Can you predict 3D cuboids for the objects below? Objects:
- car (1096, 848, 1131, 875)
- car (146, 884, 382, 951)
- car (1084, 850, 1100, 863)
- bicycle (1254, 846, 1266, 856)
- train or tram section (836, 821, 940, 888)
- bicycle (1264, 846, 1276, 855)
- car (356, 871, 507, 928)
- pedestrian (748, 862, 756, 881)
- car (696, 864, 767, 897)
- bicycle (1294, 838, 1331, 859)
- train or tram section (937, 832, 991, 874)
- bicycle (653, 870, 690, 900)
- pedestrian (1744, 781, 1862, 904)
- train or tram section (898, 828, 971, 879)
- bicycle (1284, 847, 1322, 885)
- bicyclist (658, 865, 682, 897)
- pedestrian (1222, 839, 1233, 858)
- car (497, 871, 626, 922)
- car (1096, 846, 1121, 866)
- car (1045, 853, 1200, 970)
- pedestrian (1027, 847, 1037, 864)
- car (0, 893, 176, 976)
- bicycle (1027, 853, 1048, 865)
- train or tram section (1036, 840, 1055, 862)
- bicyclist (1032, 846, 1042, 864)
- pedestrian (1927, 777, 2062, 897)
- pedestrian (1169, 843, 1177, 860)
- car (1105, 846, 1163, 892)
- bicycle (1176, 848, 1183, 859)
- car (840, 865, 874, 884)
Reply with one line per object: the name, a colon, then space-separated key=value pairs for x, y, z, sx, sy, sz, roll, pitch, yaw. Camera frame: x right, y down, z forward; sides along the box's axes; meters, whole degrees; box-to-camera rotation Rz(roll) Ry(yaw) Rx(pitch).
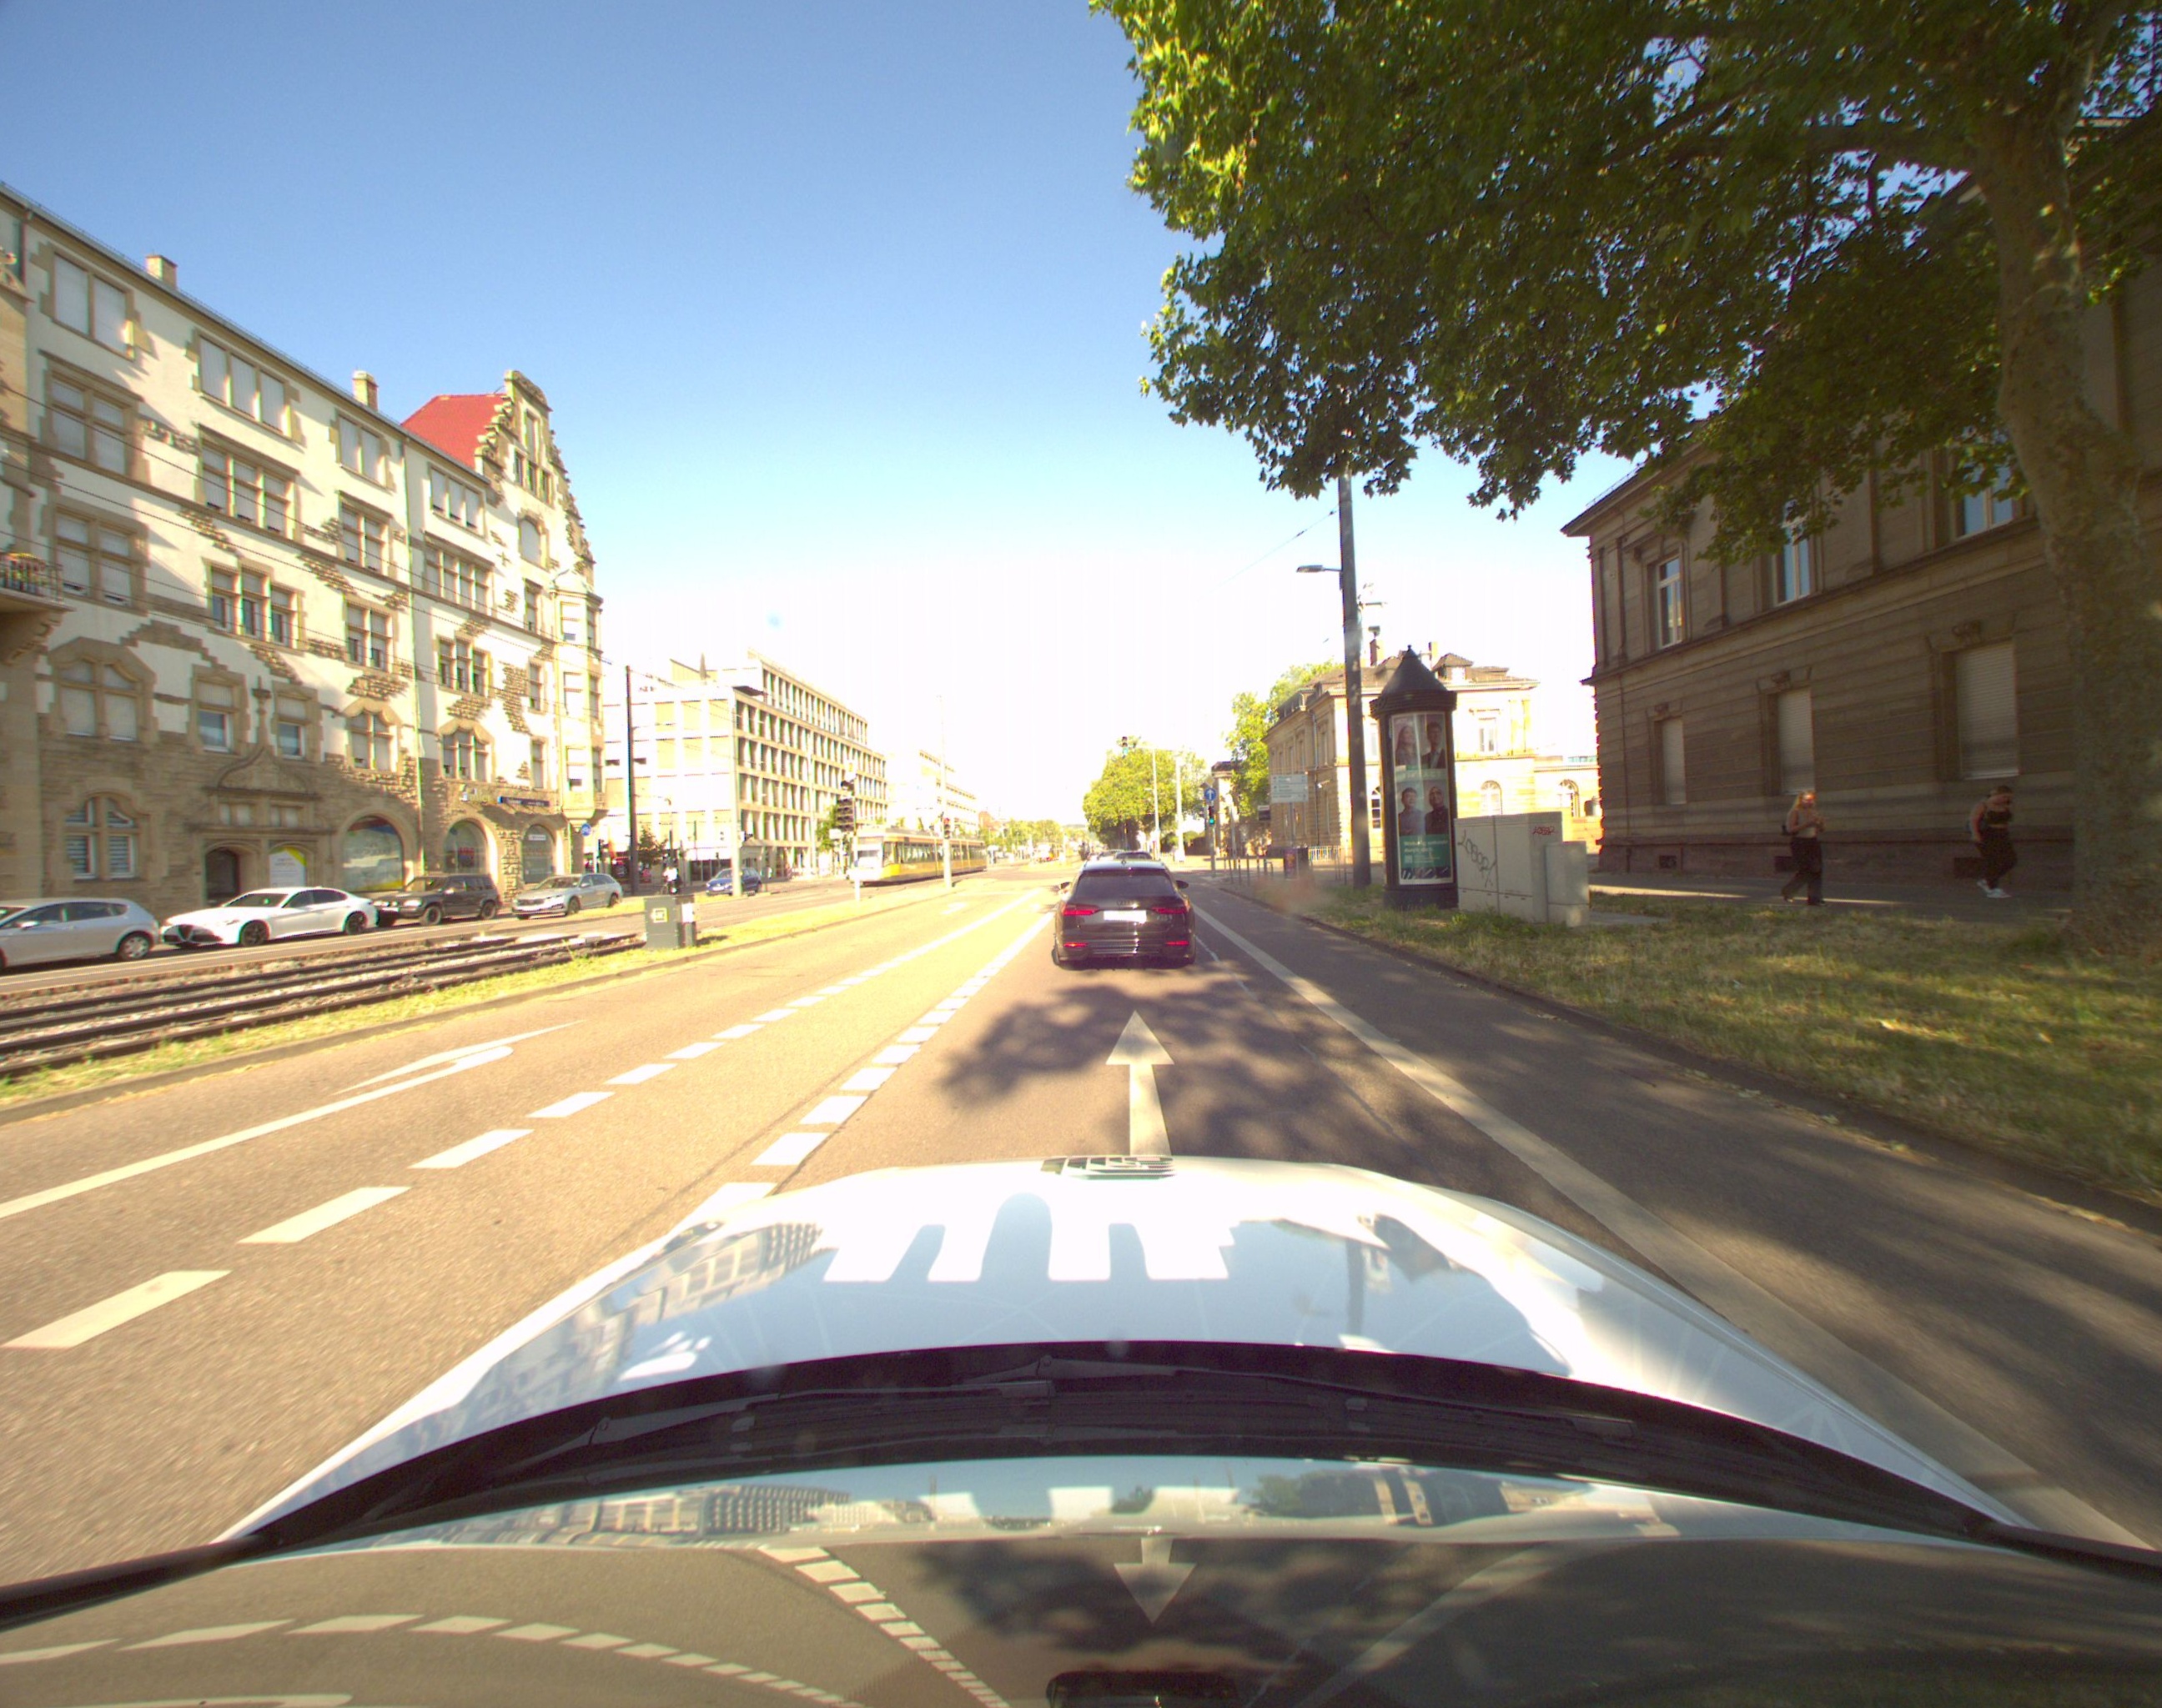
car: x=1.836 y=0.399 z=46.203 sx=1.895 sy=1.486 sz=4.146 roll=-1 pitch=0 yaw=2
car: x=-21.980 y=1.629 z=22.248 sx=1.711 sy=1.423 sz=4.655 roll=0 pitch=0 yaw=0
car: x=1.299 y=0.304 z=96.241 sx=1.896 sy=1.486 sz=4.145 roll=-1 pitch=0 yaw=1
bicycle: x=20.131 y=-0.347 z=91.589 sx=0.525 sy=1.047 sz=2.354 roll=-3 pitch=0 yaw=-6
train or tram section: x=-11.588 y=-0.023 z=50.633 sx=2.802 sy=3.489 sz=13.209 roll=-3 pitch=0 yaw=2
bicycle: x=21.191 y=-0.371 z=91.550 sx=0.525 sy=1.047 sz=2.354 roll=-3 pitch=0 yaw=-6
car: x=-21.885 y=1.468 z=27.685 sx=1.711 sy=1.675 sz=4.216 roll=0 pitch=0 yaw=0
pedestrian: x=-31.914 y=1.681 z=79.060 sx=0.535 sy=1.843 sz=0.438 roll=-3 pitch=0 yaw=-37
car: x=-17.856 y=1.313 z=41.780 sx=1.814 sy=1.457 sz=4.155 roll=-3 pitch=0 yaw=-1
bicycle: x=15.055 y=-0.361 z=52.927 sx=2.130 sy=1.209 sz=0.765 roll=-4 pitch=0 yaw=-1
train or tram section: x=-10.768 y=-0.134 z=76.526 sx=2.802 sy=3.489 sz=12.158 roll=-3 pitch=0 yaw=2
bicycle: x=-20.341 y=1.506 z=40.496 sx=0.682 sy=1.381 sz=1.948 roll=-3 pitch=0 yaw=3
pedestrian: x=10.691 y=-0.161 z=12.107 sx=0.766 sy=1.709 sz=1.043 roll=-3 pitch=0 yaw=3
train or tram section: x=-11.185 y=-0.066 z=63.853 sx=2.802 sy=3.489 sz=13.209 roll=-3 pitch=0 yaw=2
bicycle: x=6.559 y=0.353 z=24.109 sx=0.538 sy=1.061 sz=1.770 roll=-3 pitch=0 yaw=-2
bicyclist: x=-20.357 y=1.327 z=40.313 sx=0.682 sy=1.563 sz=0.786 roll=-3 pitch=0 yaw=3
pedestrian: x=14.918 y=-0.533 z=83.026 sx=0.975 sy=1.865 sz=0.827 roll=-3 pitch=0 yaw=2
car: x=-17.989 y=1.412 z=28.480 sx=1.817 sy=1.457 sz=4.532 roll=-3 pitch=0 yaw=-5
car: x=2.203 y=0.166 z=64.393 sx=1.895 sy=1.486 sz=4.146 roll=-1 pitch=0 yaw=2
car: x=0.590 y=0.710 z=12.118 sx=1.895 sy=1.421 sz=4.146 roll=-1 pitch=0 yaw=2
pedestrian: x=-5.133 y=0.177 z=85.003 sx=0.743 sy=1.741 sz=0.659 roll=-3 pitch=0 yaw=-22
car: x=-21.868 y=1.650 z=16.786 sx=1.704 sy=1.431 sz=4.222 roll=0 pitch=0 yaw=-1
bicycle: x=-4.501 y=0.520 z=83.685 sx=2.011 sy=1.108 sz=0.760 roll=-3 pitch=0 yaw=-19
train or tram section: x=-5.905 y=-0.468 z=136.220 sx=2.600 sy=3.450 sz=11.130 roll=-3 pitch=0 yaw=0
bicyclist: x=-4.507 y=0.063 z=83.713 sx=0.759 sy=1.818 sz=0.760 roll=-3 pitch=0 yaw=-18
pedestrian: x=13.031 y=-0.232 z=11.653 sx=0.766 sy=1.606 sz=0.987 roll=-3 pitch=0 yaw=3
pedestrian: x=9.279 y=-0.226 z=81.973 sx=0.680 sy=1.660 sz=0.758 roll=-3 pitch=0 yaw=0
car: x=1.822 y=0.494 z=28.778 sx=1.895 sy=1.486 sz=4.146 roll=-1 pitch=0 yaw=2
bicycle: x=9.910 y=-0.044 z=81.984 sx=0.433 sy=1.145 sz=1.340 roll=-3 pitch=0 yaw=0
car: x=-19.438 y=1.782 z=70.806 sx=1.814 sy=1.457 sz=4.155 roll=-3 pitch=0 yaw=-1
